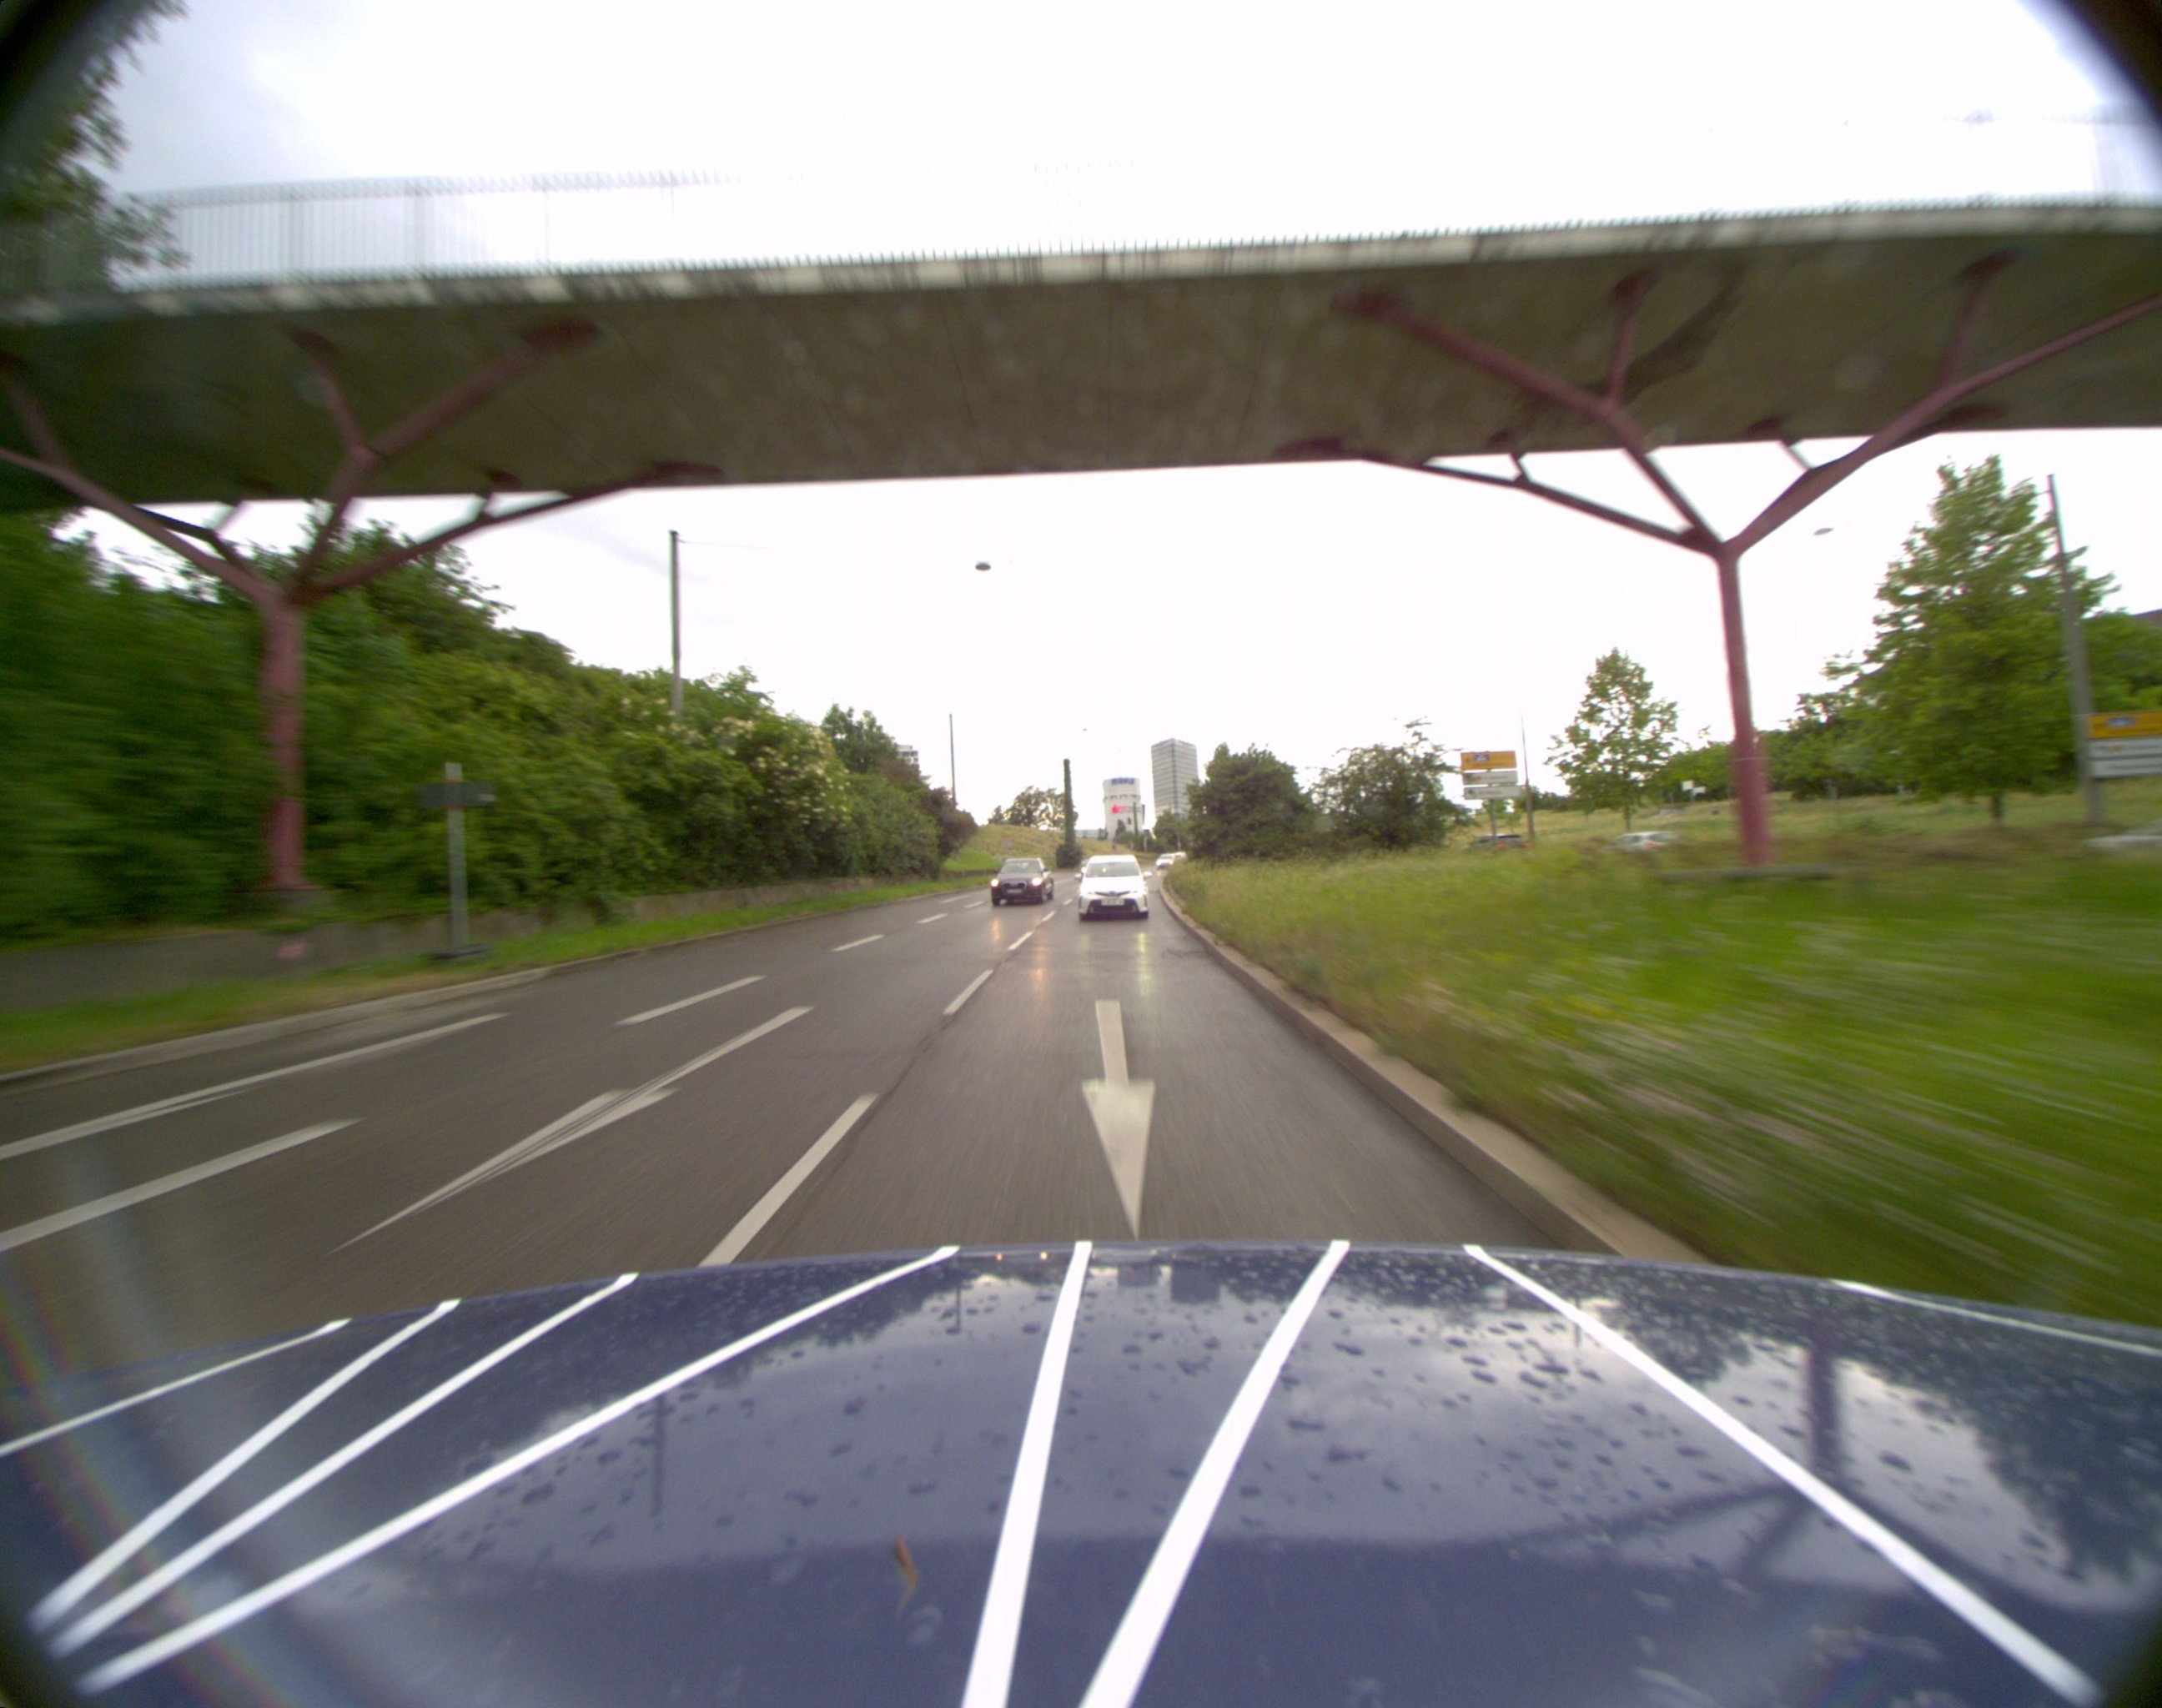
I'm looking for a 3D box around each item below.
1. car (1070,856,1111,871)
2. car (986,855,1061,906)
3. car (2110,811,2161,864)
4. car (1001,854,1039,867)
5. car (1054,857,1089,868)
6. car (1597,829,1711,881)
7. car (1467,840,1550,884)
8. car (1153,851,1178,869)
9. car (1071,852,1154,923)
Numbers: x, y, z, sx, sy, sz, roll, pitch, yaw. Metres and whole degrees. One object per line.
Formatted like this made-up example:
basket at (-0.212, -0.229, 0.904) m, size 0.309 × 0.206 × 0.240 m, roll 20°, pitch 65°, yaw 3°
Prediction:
car at (1.225, 1.221, 97.983) m, size 4.998 × 1.636 × 2.070 m, roll -3°, pitch 0°, yaw -38°
car at (-1.978, 0.891, 27.491) m, size 1.927 × 1.591 × 4.281 m, roll -2°, pitch 0°, yaw 6°
car at (21.127, -0.331, 13.562) m, size 1.269 × 0.939 × 3.085 m, roll -5°, pitch 1°, yaw -1°
car at (-7.588, 0.816, 95.145) m, size 4.280 × 1.420 × 2.070 m, roll -1°, pitch -2°, yaw -40°
car at (-1.229, 1.074, 100.773) m, size 4.563 × 1.342 × 1.839 m, roll -1°, pitch -2°, yaw -40°
car at (25.394, 0.025, 33.889) m, size 1.998 × 2.002 × 4.000 m, roll -5°, pitch 1°, yaw 2°
car at (22.186, 0.378, 39.625) m, size 1.998 × 2.002 × 4.000 m, roll -5°, pitch 1°, yaw 2°
car at (8.351, 0.599, 74.753) m, size 1.996 × 1.761 × 4.005 m, roll 0°, pitch -1°, yaw 14°
car at (0.906, 0.805, 20.447) m, size 1.924 × 1.604 × 4.376 m, roll -3°, pitch 0°, yaw 4°
